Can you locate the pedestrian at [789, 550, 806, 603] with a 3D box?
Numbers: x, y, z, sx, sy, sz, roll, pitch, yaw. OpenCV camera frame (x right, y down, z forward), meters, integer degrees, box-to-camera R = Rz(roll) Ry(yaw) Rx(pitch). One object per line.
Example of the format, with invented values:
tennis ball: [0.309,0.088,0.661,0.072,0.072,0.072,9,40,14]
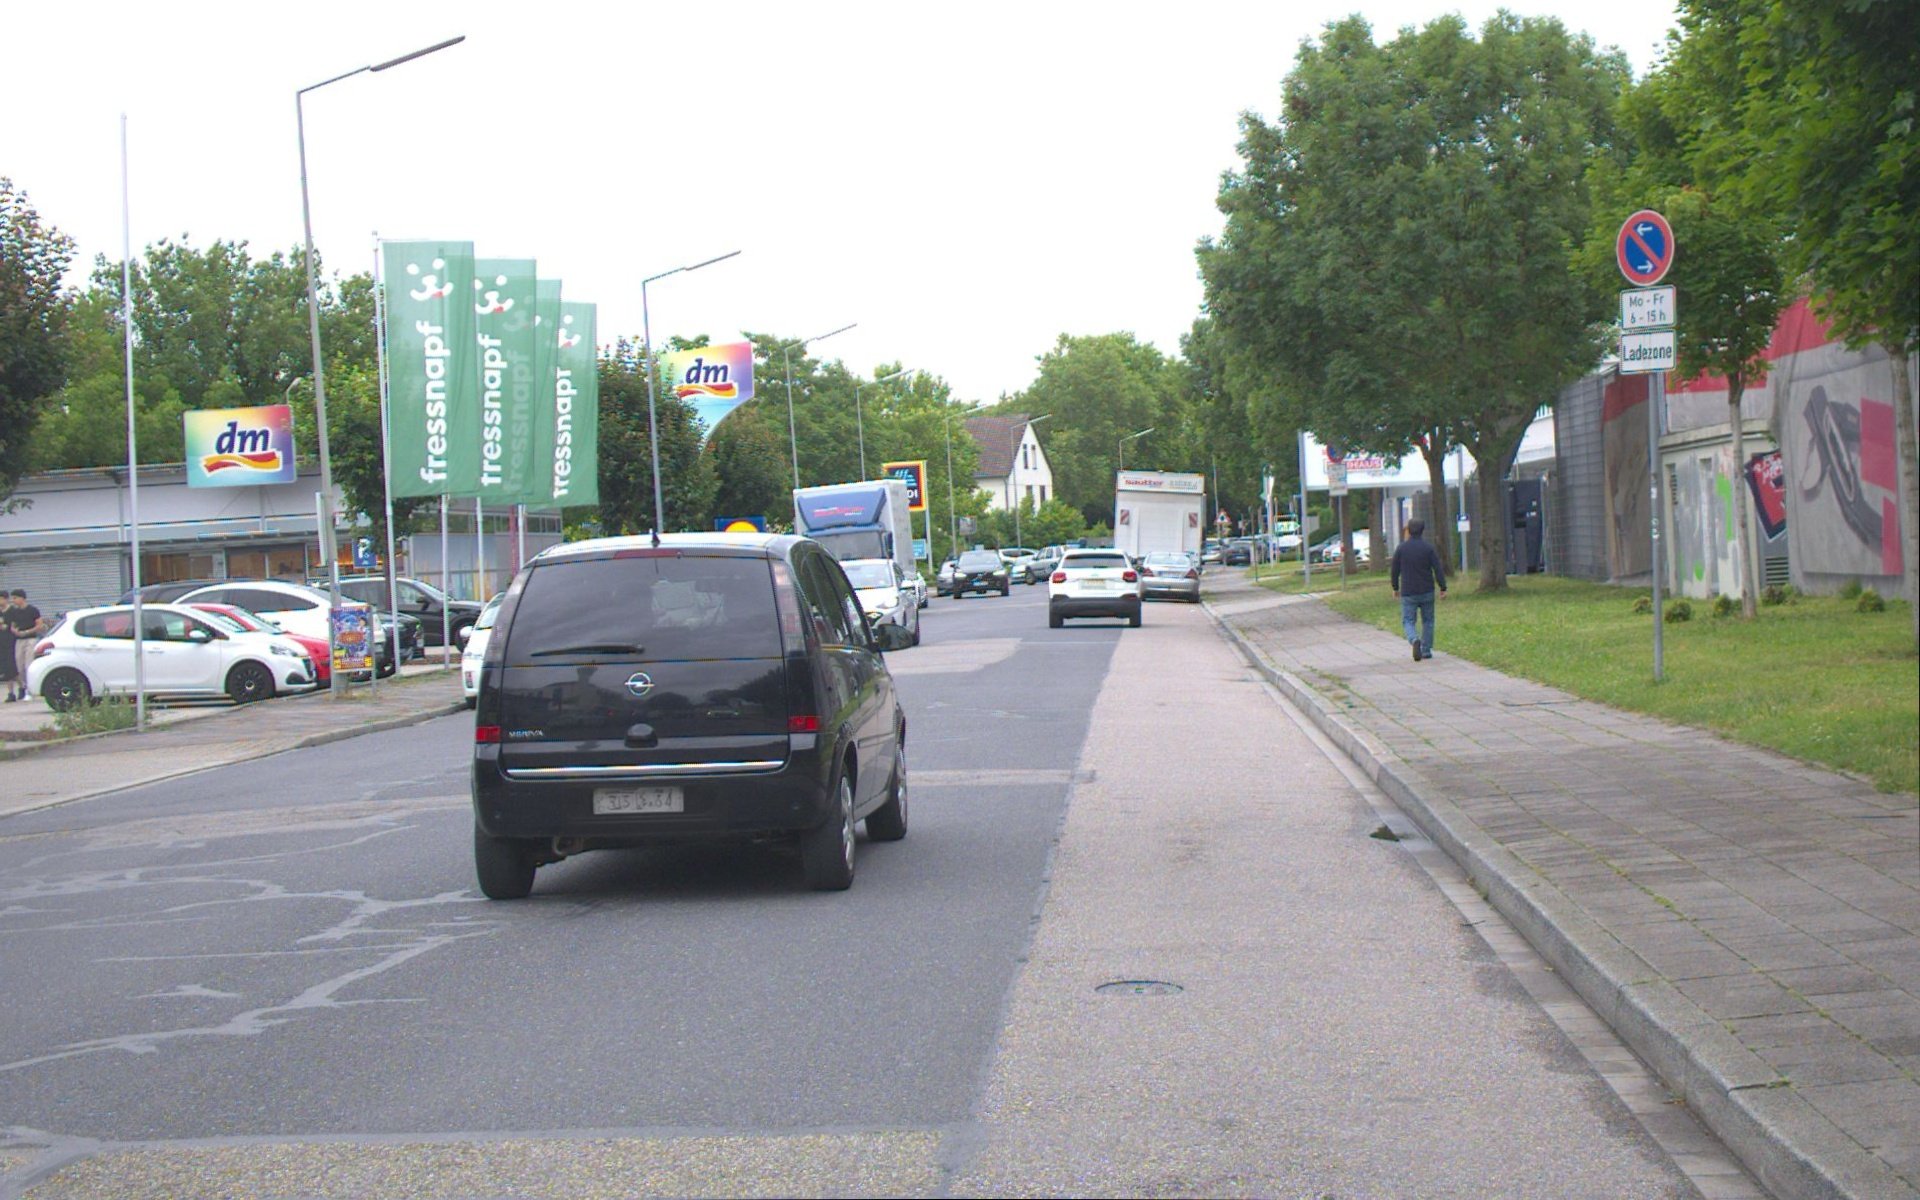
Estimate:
pedestrian: [-4.758,-0.676,100.466,0.401,1.526,0.485,-3,1,-3]

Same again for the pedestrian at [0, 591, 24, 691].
pedestrian: [-15.020,0.645,54.363,0.330,1.565,0.504,-2,1,-8]

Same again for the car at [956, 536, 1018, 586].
car: [0.964,-1.361,120.549,1.993,1.678,4.000,-1,0,2]

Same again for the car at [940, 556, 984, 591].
car: [0.093,-1.088,140.575,1.623,1.370,3.452,-1,0,2]

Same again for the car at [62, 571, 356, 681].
car: [-11.687,0.388,53.705,4.135,1.458,1.899,-3,1,-2]

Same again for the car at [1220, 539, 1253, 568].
car: [16.077,-2.706,199.966,1.887,1.677,4.253,-1,1,4]

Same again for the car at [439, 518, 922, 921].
car: [-1.210,0.479,16.448,1.681,1.626,3.758,-3,1,4]

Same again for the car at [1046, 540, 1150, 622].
car: [2.727,-0.392,67.028,1.887,1.526,4.253,-1,1,4]

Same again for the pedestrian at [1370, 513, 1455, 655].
pedestrian: [5.320,-0.186,40.461,0.919,1.629,0.852,-1,0,5]

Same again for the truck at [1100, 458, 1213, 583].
truck: [5.942,-2.340,105.457,3.135,3.572,10.050,-1,0,2]

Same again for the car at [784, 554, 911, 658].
car: [-1.797,0.082,55.907,1.599,1.523,3.527,-4,0,4]

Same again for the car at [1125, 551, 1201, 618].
car: [5.663,-0.445,96.449,1.993,1.800,4.000,-1,0,2]

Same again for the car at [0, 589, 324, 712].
car: [-11.309,0.698,48.821,4.202,1.458,1.953,-3,1,-4]

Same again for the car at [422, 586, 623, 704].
car: [-5.816,0.568,46.157,1.898,1.362,4.000,-3,1,3]

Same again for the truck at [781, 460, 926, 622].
truck: [-2.775,-1.580,91.907,2.974,3.942,6.404,-4,1,4]

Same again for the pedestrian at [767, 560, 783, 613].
pedestrian: [-5.428,-0.393,100.951,0.401,1.526,0.485,-3,1,-3]

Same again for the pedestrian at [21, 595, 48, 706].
pedestrian: [-14.514,0.783,53.925,0.262,1.724,0.422,-3,1,-9]

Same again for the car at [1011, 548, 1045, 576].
car: [3.466,-1.911,174.010,1.542,1.361,3.428,-1,0,4]

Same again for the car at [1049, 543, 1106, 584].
car: [4.303,-1.339,125.417,1.938,1.362,4.000,-4,1,3]
